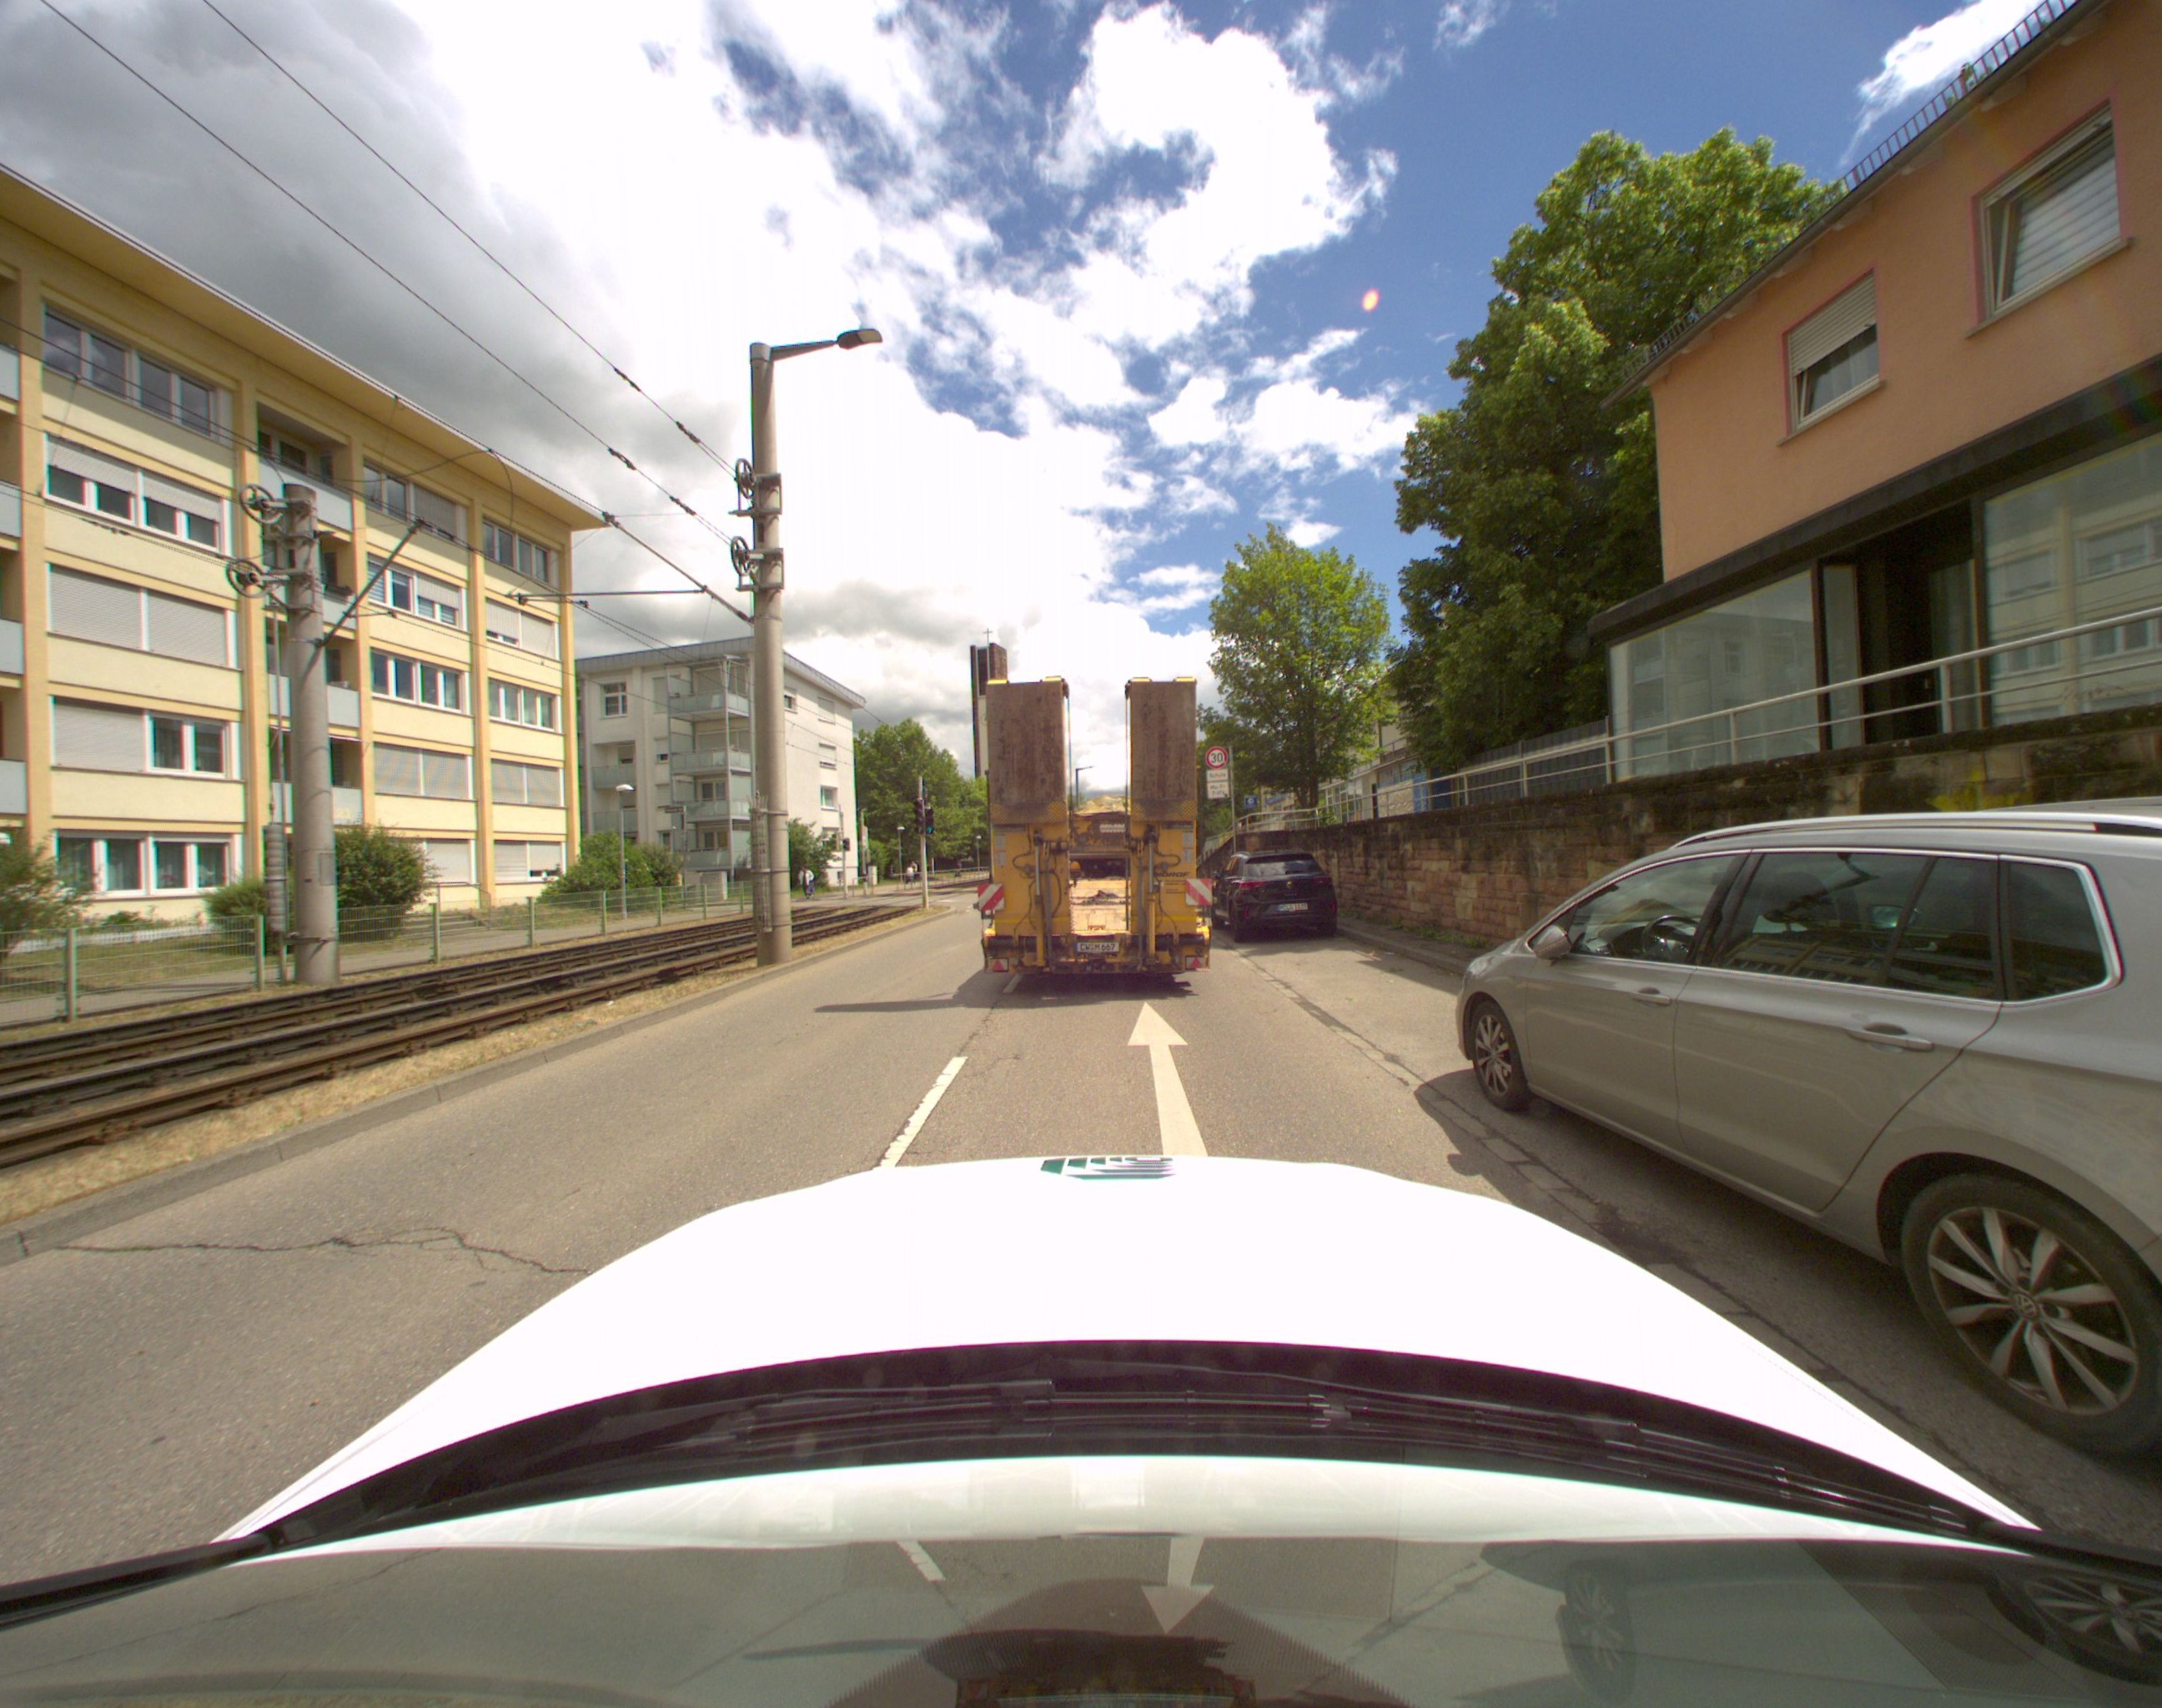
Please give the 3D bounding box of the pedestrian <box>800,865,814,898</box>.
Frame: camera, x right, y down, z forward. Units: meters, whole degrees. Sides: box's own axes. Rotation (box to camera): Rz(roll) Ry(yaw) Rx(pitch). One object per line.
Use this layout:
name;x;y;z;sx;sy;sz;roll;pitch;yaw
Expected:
pedestrian;-13.041;1.308;38.801;0.435;1.581;0.475;-2;-1;7

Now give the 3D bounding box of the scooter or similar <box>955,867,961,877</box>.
scooter or similar;-11.275;1.651;74.734;0.504;0.971;0.646;0;0;1

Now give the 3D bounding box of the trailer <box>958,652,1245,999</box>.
trailer;0.422;-0.288;13.002;2.933;3.601;8.689;-2;0;3

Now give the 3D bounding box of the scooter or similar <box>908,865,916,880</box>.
scooter or similar;-12.034;1.324;57.903;0.336;1.058;0.688;-2;-1;6

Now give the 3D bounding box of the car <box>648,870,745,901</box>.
car;-19.219;1.569;40.776;3.963;1.346;1.906;-2;0;9

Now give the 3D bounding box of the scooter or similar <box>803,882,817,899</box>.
scooter or similar;-12.816;1.726;38.473;0.435;0.747;0.475;-2;-1;7

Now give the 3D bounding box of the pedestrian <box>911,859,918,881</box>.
pedestrian;-11.975;1.132;58.537;0.346;1.537;0.558;-2;0;5

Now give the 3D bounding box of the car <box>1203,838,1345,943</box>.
car;3.499;0.615;15.498;1.843;1.639;4.003;-3;0;3

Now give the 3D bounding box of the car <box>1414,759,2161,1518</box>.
car;3.189;0.568;3.481;1.783;1.618;4.249;-3;0;1

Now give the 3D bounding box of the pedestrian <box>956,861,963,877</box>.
pedestrian;-11.237;1.390;75.388;0.562;1.514;0.646;0;-1;1

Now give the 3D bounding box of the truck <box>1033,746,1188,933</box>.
truck;0.697;-0.277;18.443;2.931;3.572;4.880;-2;0;3
